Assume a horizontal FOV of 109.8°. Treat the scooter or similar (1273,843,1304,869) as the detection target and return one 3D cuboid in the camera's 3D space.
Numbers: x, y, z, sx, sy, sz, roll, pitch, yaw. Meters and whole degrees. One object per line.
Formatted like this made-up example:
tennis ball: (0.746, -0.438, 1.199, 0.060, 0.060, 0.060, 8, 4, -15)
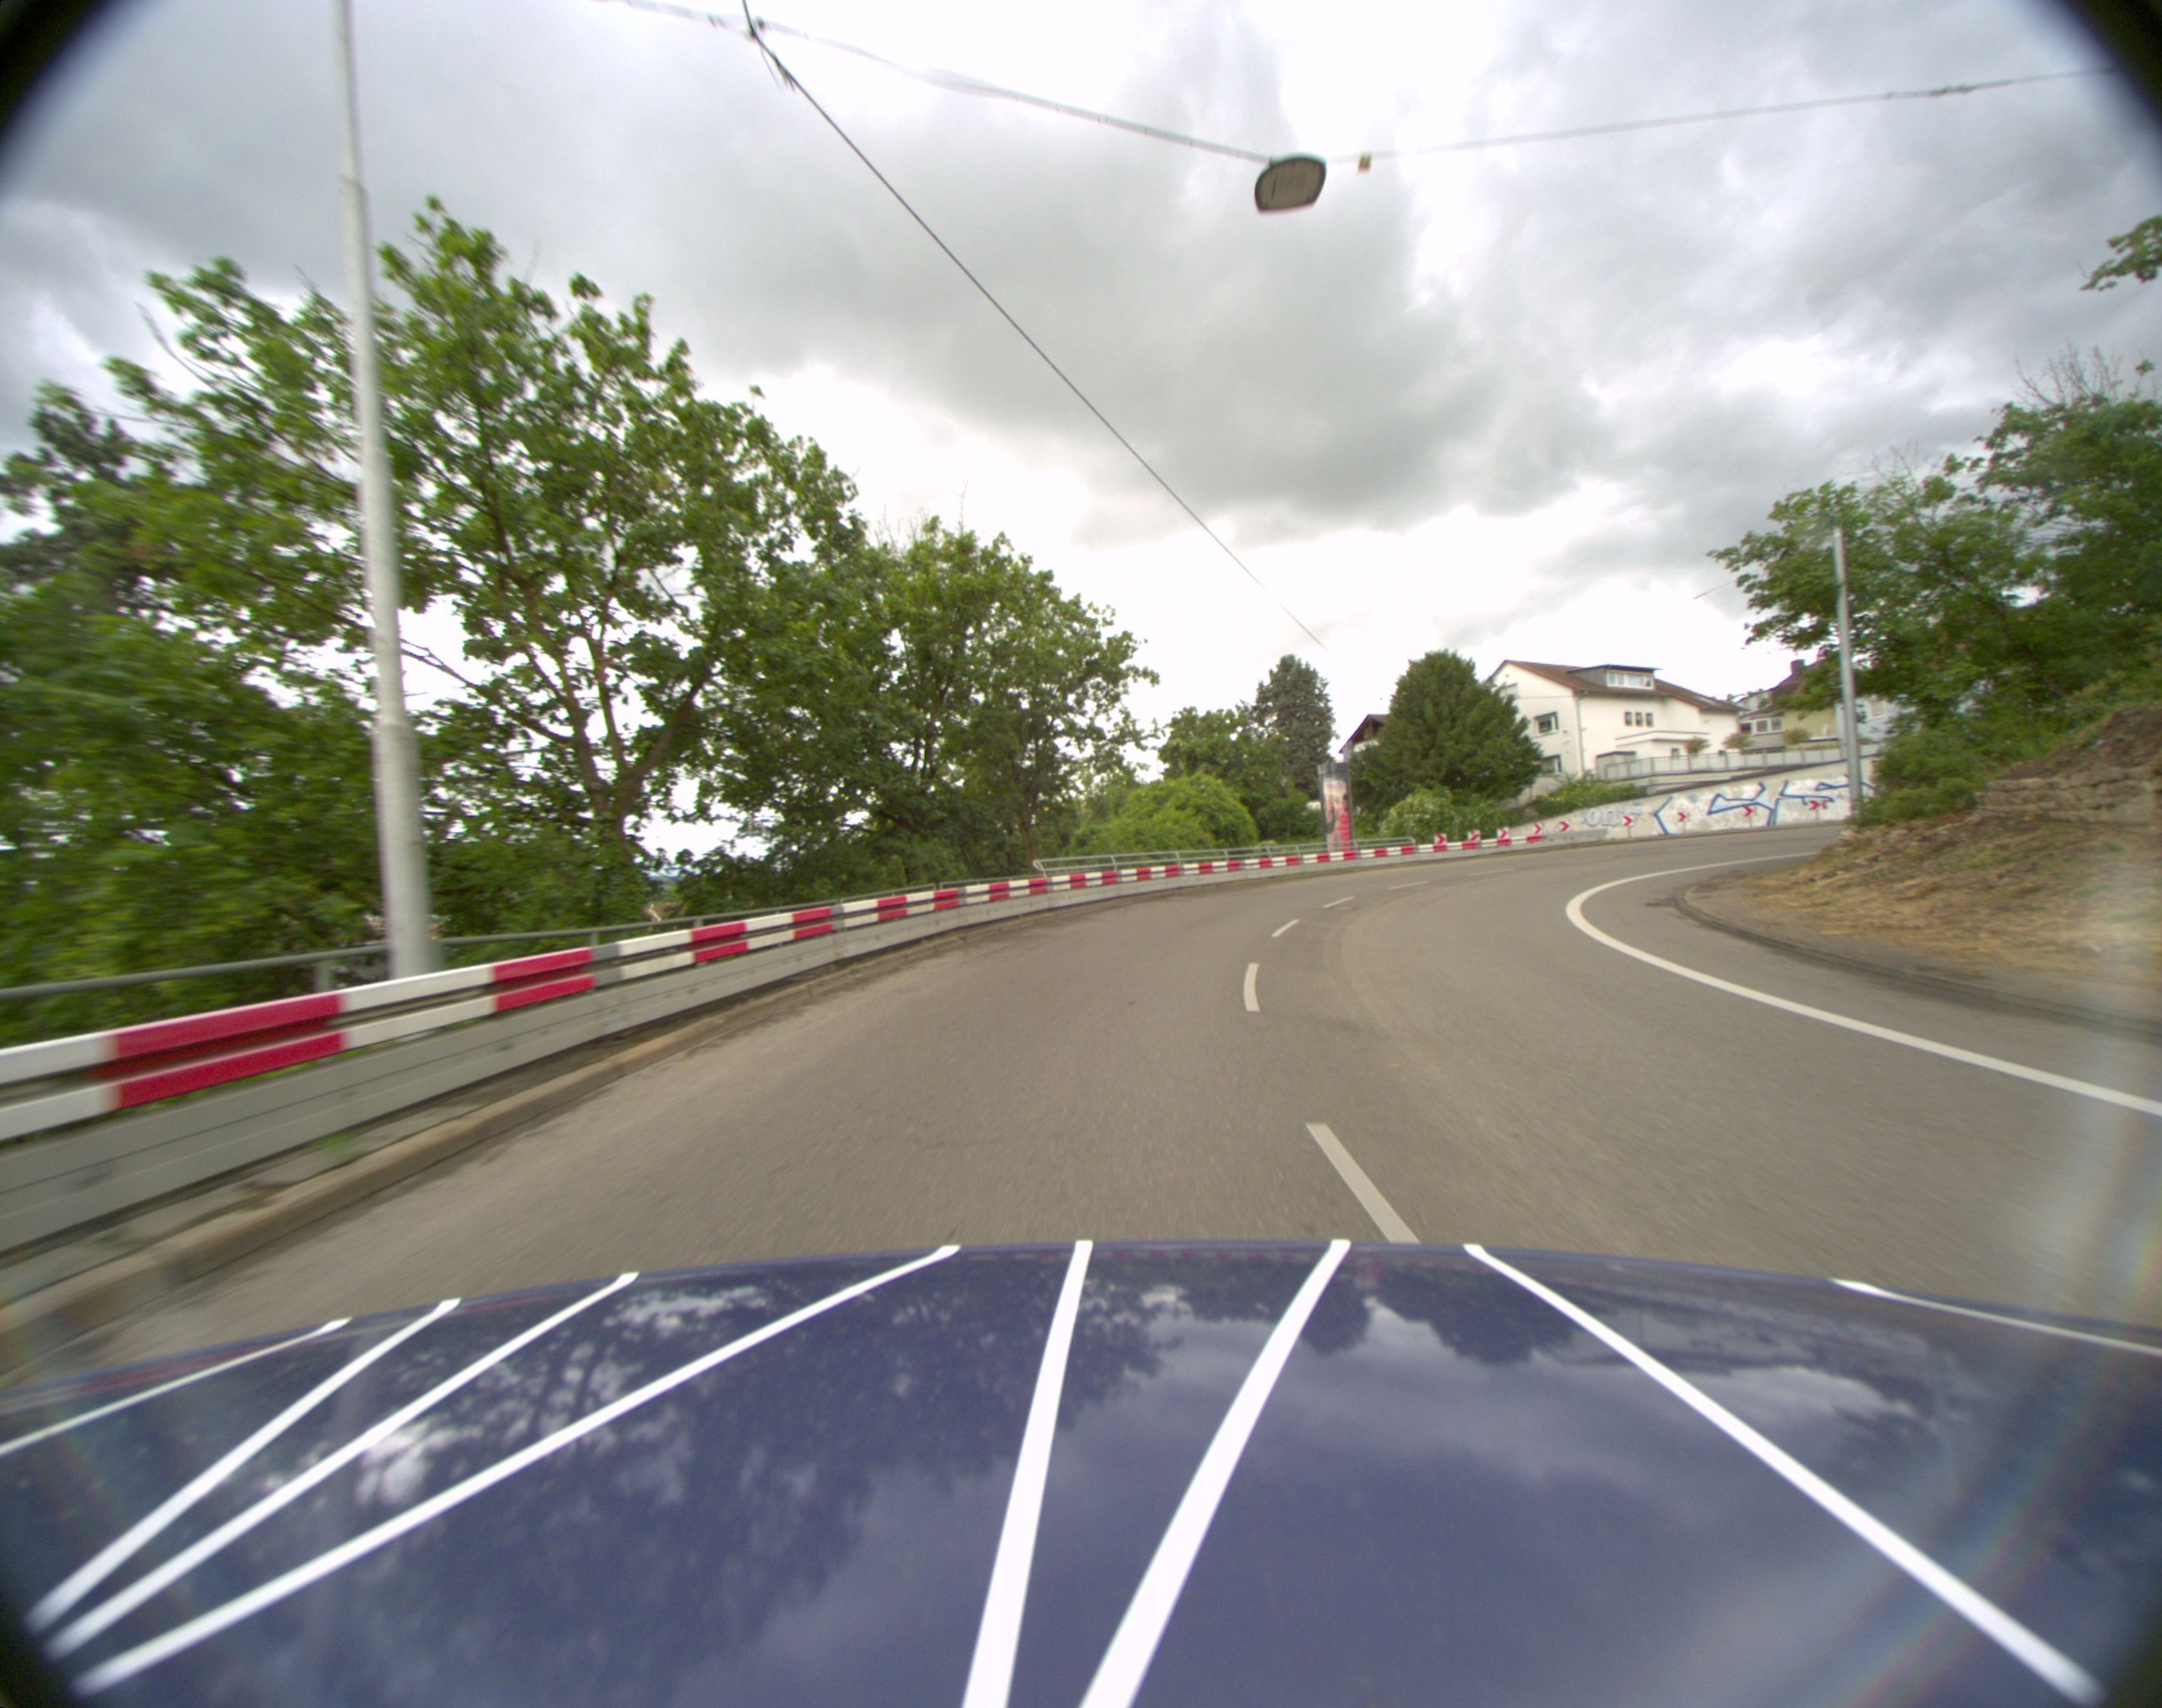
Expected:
scooter or similar: (11.159, 0.115, 40.879, 1.497, 1.243, 0.437, -5, -1, 34)
